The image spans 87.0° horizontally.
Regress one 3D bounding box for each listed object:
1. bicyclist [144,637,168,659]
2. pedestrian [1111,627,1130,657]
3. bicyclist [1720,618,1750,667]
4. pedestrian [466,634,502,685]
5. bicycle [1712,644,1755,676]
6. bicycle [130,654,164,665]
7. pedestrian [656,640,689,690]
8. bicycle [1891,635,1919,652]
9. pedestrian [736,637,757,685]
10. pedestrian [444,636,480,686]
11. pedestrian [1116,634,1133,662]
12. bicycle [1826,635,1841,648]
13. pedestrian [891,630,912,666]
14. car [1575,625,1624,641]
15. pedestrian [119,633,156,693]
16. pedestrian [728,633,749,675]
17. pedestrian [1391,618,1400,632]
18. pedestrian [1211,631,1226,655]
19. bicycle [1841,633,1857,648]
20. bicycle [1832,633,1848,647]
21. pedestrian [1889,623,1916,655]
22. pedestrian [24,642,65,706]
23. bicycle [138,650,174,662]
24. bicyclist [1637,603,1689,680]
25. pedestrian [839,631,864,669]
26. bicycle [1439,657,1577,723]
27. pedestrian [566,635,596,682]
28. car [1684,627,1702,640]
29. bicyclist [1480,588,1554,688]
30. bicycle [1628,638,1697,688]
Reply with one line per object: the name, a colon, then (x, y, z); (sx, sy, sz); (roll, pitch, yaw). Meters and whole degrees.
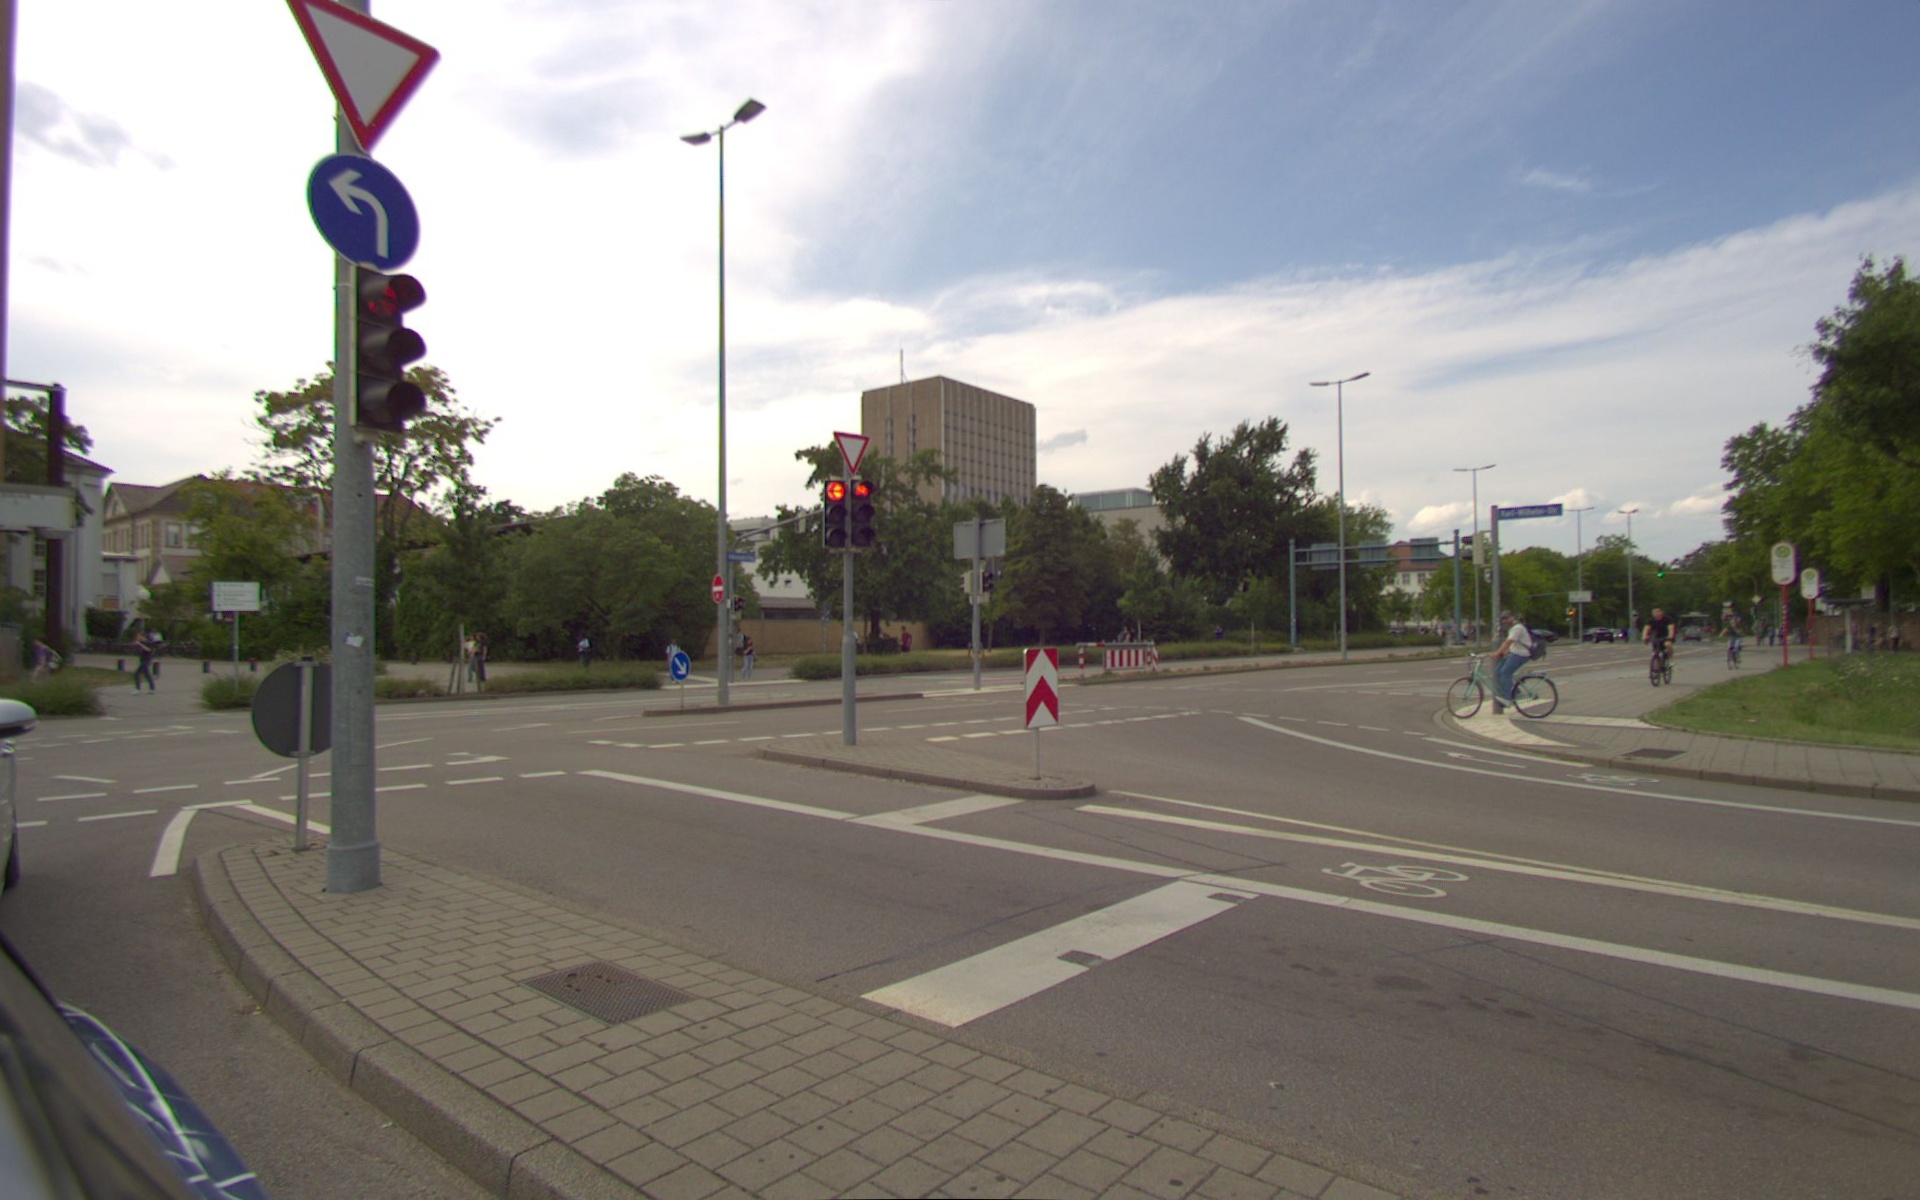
bicyclist: (-47.570, 2.832, 59.899); (0.839, 1.287, 0.999); (-5, -4, 42)
pedestrian: (9.361, 2.452, 59.060); (0.683, 1.724, 0.735); (1, -4, -44)
bicyclist: (25.553, 1.382, 33.366); (0.784, 1.567, 0.496); (-2, -1, -34)
pedestrian: (-16.659, 2.074, 35.402); (0.835, 1.724, 0.792); (-4, -3, 27)
bicycle: (25.437, 1.956, 33.259); (1.939, 0.943, 0.507); (-2, -1, -34)
bicycle: (-55.236, 4.033, 68.769); (1.816, 0.699, 0.653); (0, -4, -40)
pedestrian: (-10.223, 2.307, 36.004); (0.827, 1.724, 0.801); (0, -4, -42)
bicycle: (52.124, 2.388, 55.734); (0.657, 0.894, 1.564); (-5, -4, 22)
pedestrian: (-7.910, 2.257, 37.474); (0.579, 1.724, 0.482); (1, -4, -42)
pedestrian: (-17.515, 2.149, 35.606); (0.835, 1.724, 0.792); (-4, -3, 27)
pedestrian: (10.465, 3.035, 64.371); (0.714, 1.724, 0.685); (-5, -4, 42)
bicycle: (59.961, 2.835, 69.477); (0.432, 0.894, 1.559); (-6, -5, 31)
pedestrian: (-2.848, 2.338, 49.303); (0.714, 1.724, 0.685); (-5, -4, 42)
car: (62.910, 3.206, 99.609); (1.761, 1.501, 4.138); (1, 0, -9)
pedestrian: (-24.316, 1.871, 29.921); (0.788, 1.724, 0.840); (1, -4, -44)
pedestrian: (-9.350, 2.267, 42.740); (0.544, 1.709, 0.686); (0, -1, 39)
pedestrian: (53.287, 3.091, 123.816); (0.769, 1.724, 0.685); (-5, -4, 42)
pedestrian: (18.793, 3.139, 73.556); (0.714, 1.724, 0.685); (-5, -4, 42)
bicycle: (58.233, 2.651, 66.328); (0.432, 0.894, 1.559); (-6, -5, 31)
bicycle: (59.003, 2.698, 67.868); (0.432, 0.894, 1.559); (-6, -5, 31)
pedestrian: (49.401, 2.033, 53.053); (0.749, 1.634, 0.661); (-3, -3, 19)
pedestrian: (-25.377, 2.038, 28.053); (0.788, 1.724, 0.840); (1, -4, -44)
bicycle: (-51.881, 3.612, 65.284); (1.816, 0.699, 0.653); (0, -4, -40)
bicyclist: (14.931, 0.876, 21.500); (0.784, 1.567, 0.581); (-2, -1, -34)
pedestrian: (-5.038, 2.337, 47.069); (0.841, 1.724, 0.686); (-5, -4, 39)
bicycle: (8.869, 1.453, 16.398); (1.942, 0.943, 0.506); (-2, -1, -4)
pedestrian: (-14.359, 2.204, 38.319); (0.714, 1.724, 0.789); (-5, -4, 39)
car: (90.940, 4.195, 125.593); (1.698, 1.492, 4.361); (-5, -4, 36)
bicyclist: (9.032, 0.608, 16.415); (0.786, 1.567, 0.580); (-2, -1, -4)
bicycle: (14.939, 1.322, 21.500); (1.939, 0.943, 0.507); (-2, -1, -34)
